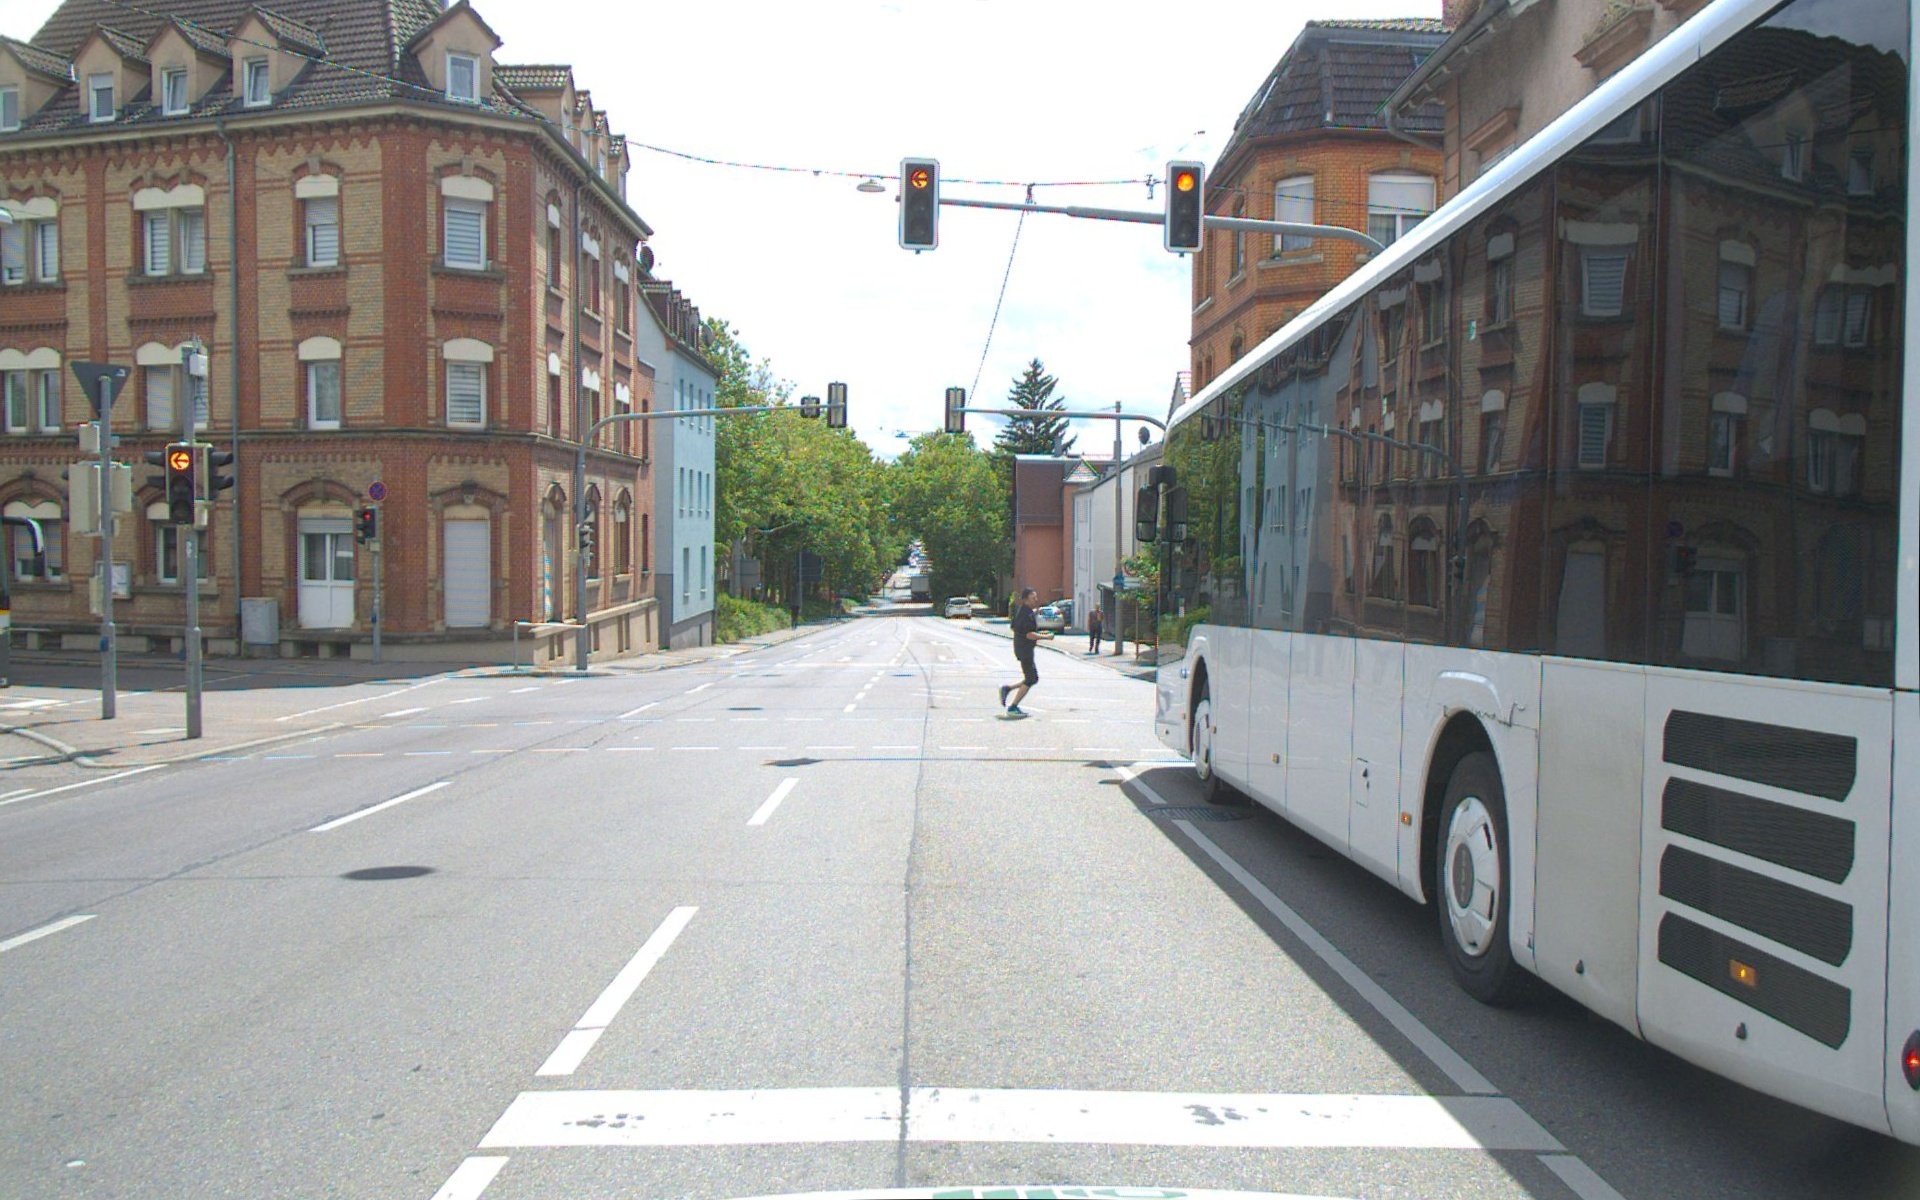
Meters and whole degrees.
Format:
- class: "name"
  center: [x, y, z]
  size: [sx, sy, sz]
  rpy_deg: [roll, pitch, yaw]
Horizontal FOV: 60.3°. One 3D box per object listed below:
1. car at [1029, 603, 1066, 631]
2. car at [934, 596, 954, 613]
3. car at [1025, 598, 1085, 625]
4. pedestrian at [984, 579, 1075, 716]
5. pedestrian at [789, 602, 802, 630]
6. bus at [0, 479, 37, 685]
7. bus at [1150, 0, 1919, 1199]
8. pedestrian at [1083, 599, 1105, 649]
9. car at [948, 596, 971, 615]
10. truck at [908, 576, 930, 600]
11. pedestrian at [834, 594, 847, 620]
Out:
- class: "car"
  center: [4.916, 0.948, 93.131]
  size: [1.758, 1.434, 3.999]
  rpy_deg: [-1, 1, -2]
- class: "car"
  center: [-1.403, 0.405, 145.797]
  size: [1.757, 1.434, 4.418]
  rpy_deg: [1, 0, 0]
- class: "car"
  center: [6.490, 0.781, 113.256]
  size: [3.909, 1.788, 1.998]
  rpy_deg: [-1, 0, -6]
- class: "pedestrian"
  center: [0.906, 0.612, 21.768]
  size: [1.118, 1.765, 0.758]
  rpy_deg: [0, 0, -5]
- class: "pedestrian"
  center: [-9.545, 0.912, 95.972]
  size: [0.714, 1.592, 0.560]
  rpy_deg: [0, 0, -2]
- class: "bus"
  center: [-22.916, -0.358, 31.454]
  size: [11.979, 3.685, 2.770]
  rpy_deg: [0, 0, 24]
- class: "bus"
  center: [3.167, -0.149, 9.287]
  size: [2.618, 3.211, 12.459]
  rpy_deg: [0, 0, -1]
- class: "pedestrian"
  center: [4.848, 0.877, 59.904]
  size: [0.723, 1.781, 0.619]
  rpy_deg: [-1, 0, -1]
- class: "car"
  center: [-0.057, 0.458, 129.328]
  size: [1.757, 1.434, 4.000]
  rpy_deg: [1, 0, 0]
- class: "truck"
  center: [-5.731, -1.653, 229.183]
  size: [2.868, 3.135, 7.881]
  rpy_deg: [-1, 0, -3]
- class: "pedestrian"
  center: [-9.229, 0.530, 127.818]
  size: [0.974, 2.049, 1.188]
  rpy_deg: [0, 0, -1]
